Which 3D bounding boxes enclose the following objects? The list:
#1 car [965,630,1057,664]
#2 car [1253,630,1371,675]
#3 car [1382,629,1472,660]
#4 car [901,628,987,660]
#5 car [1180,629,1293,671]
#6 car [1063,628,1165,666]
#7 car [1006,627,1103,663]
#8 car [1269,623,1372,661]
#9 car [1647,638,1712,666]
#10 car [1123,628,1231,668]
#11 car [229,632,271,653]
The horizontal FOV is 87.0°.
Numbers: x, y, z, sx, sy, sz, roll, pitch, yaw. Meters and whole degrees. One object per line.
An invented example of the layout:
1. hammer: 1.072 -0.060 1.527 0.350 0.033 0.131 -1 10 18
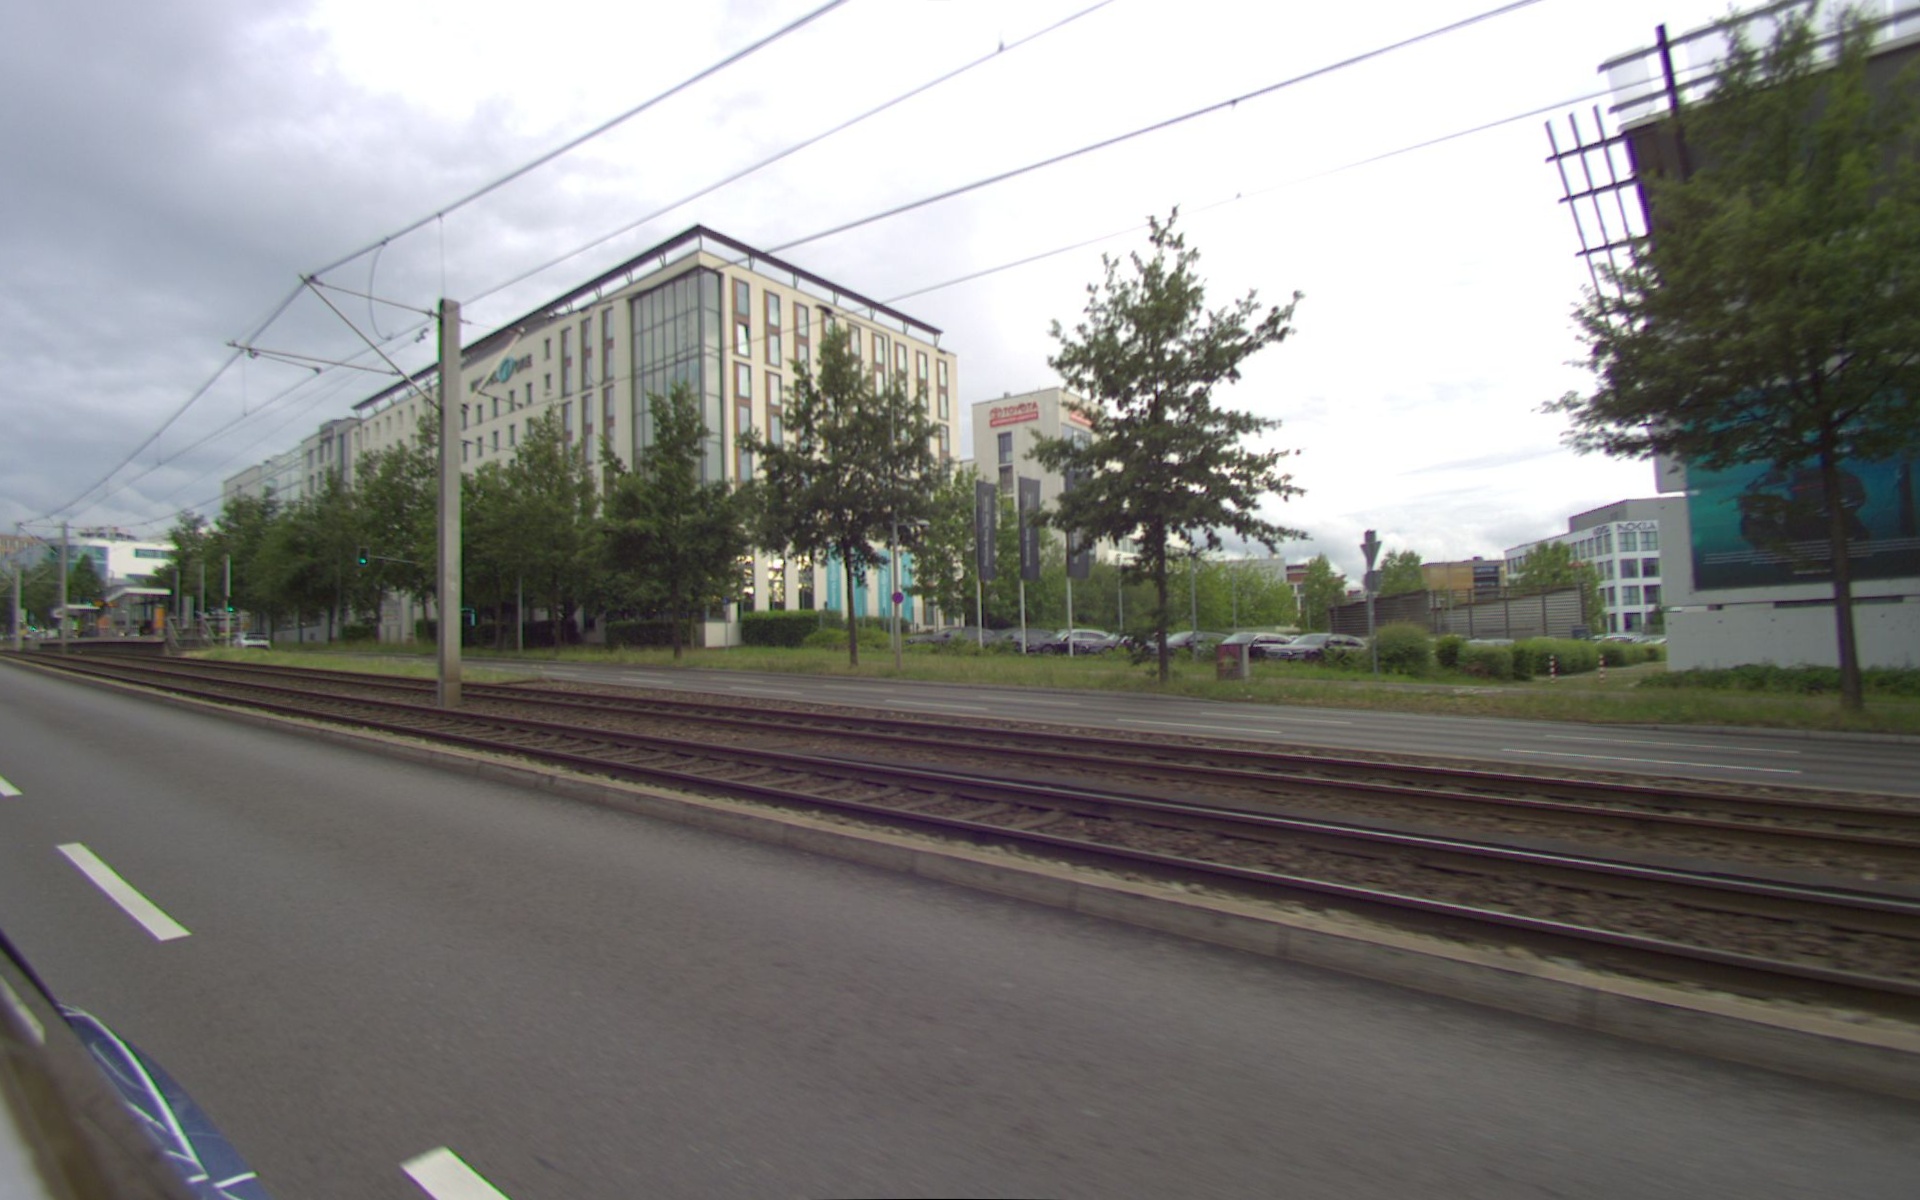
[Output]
1. car: 2.410 2.182 47.767 3.931 1.401 1.809 -1 0 -22
2. car: 12.875 1.874 37.039 3.931 1.401 1.809 -1 0 -26
3. car: 23.710 2.244 51.421 3.931 1.401 1.809 -1 0 -18
4. car: -0.809 2.133 49.754 3.934 1.401 1.808 -1 0 -12
5. car: 10.713 1.912 39.210 3.931 1.401 1.809 -1 0 -22
6. car: 6.569 1.966 43.243 3.931 1.401 1.770 -1 0 -22
7. car: 4.243 1.997 45.466 3.931 1.401 1.809 -1 0 -22
8. car: 15.385 1.772 43.231 3.931 1.401 1.809 -1 0 -22
9. car: 57.273 4.108 80.537 4.000 2.029 1.972 -1 0 43
10. car: 8.816 1.936 41.167 3.931 1.401 1.809 -1 0 -22
11. car: -50.421 3.005 71.877 3.818 1.375 1.678 -2 -4 44
